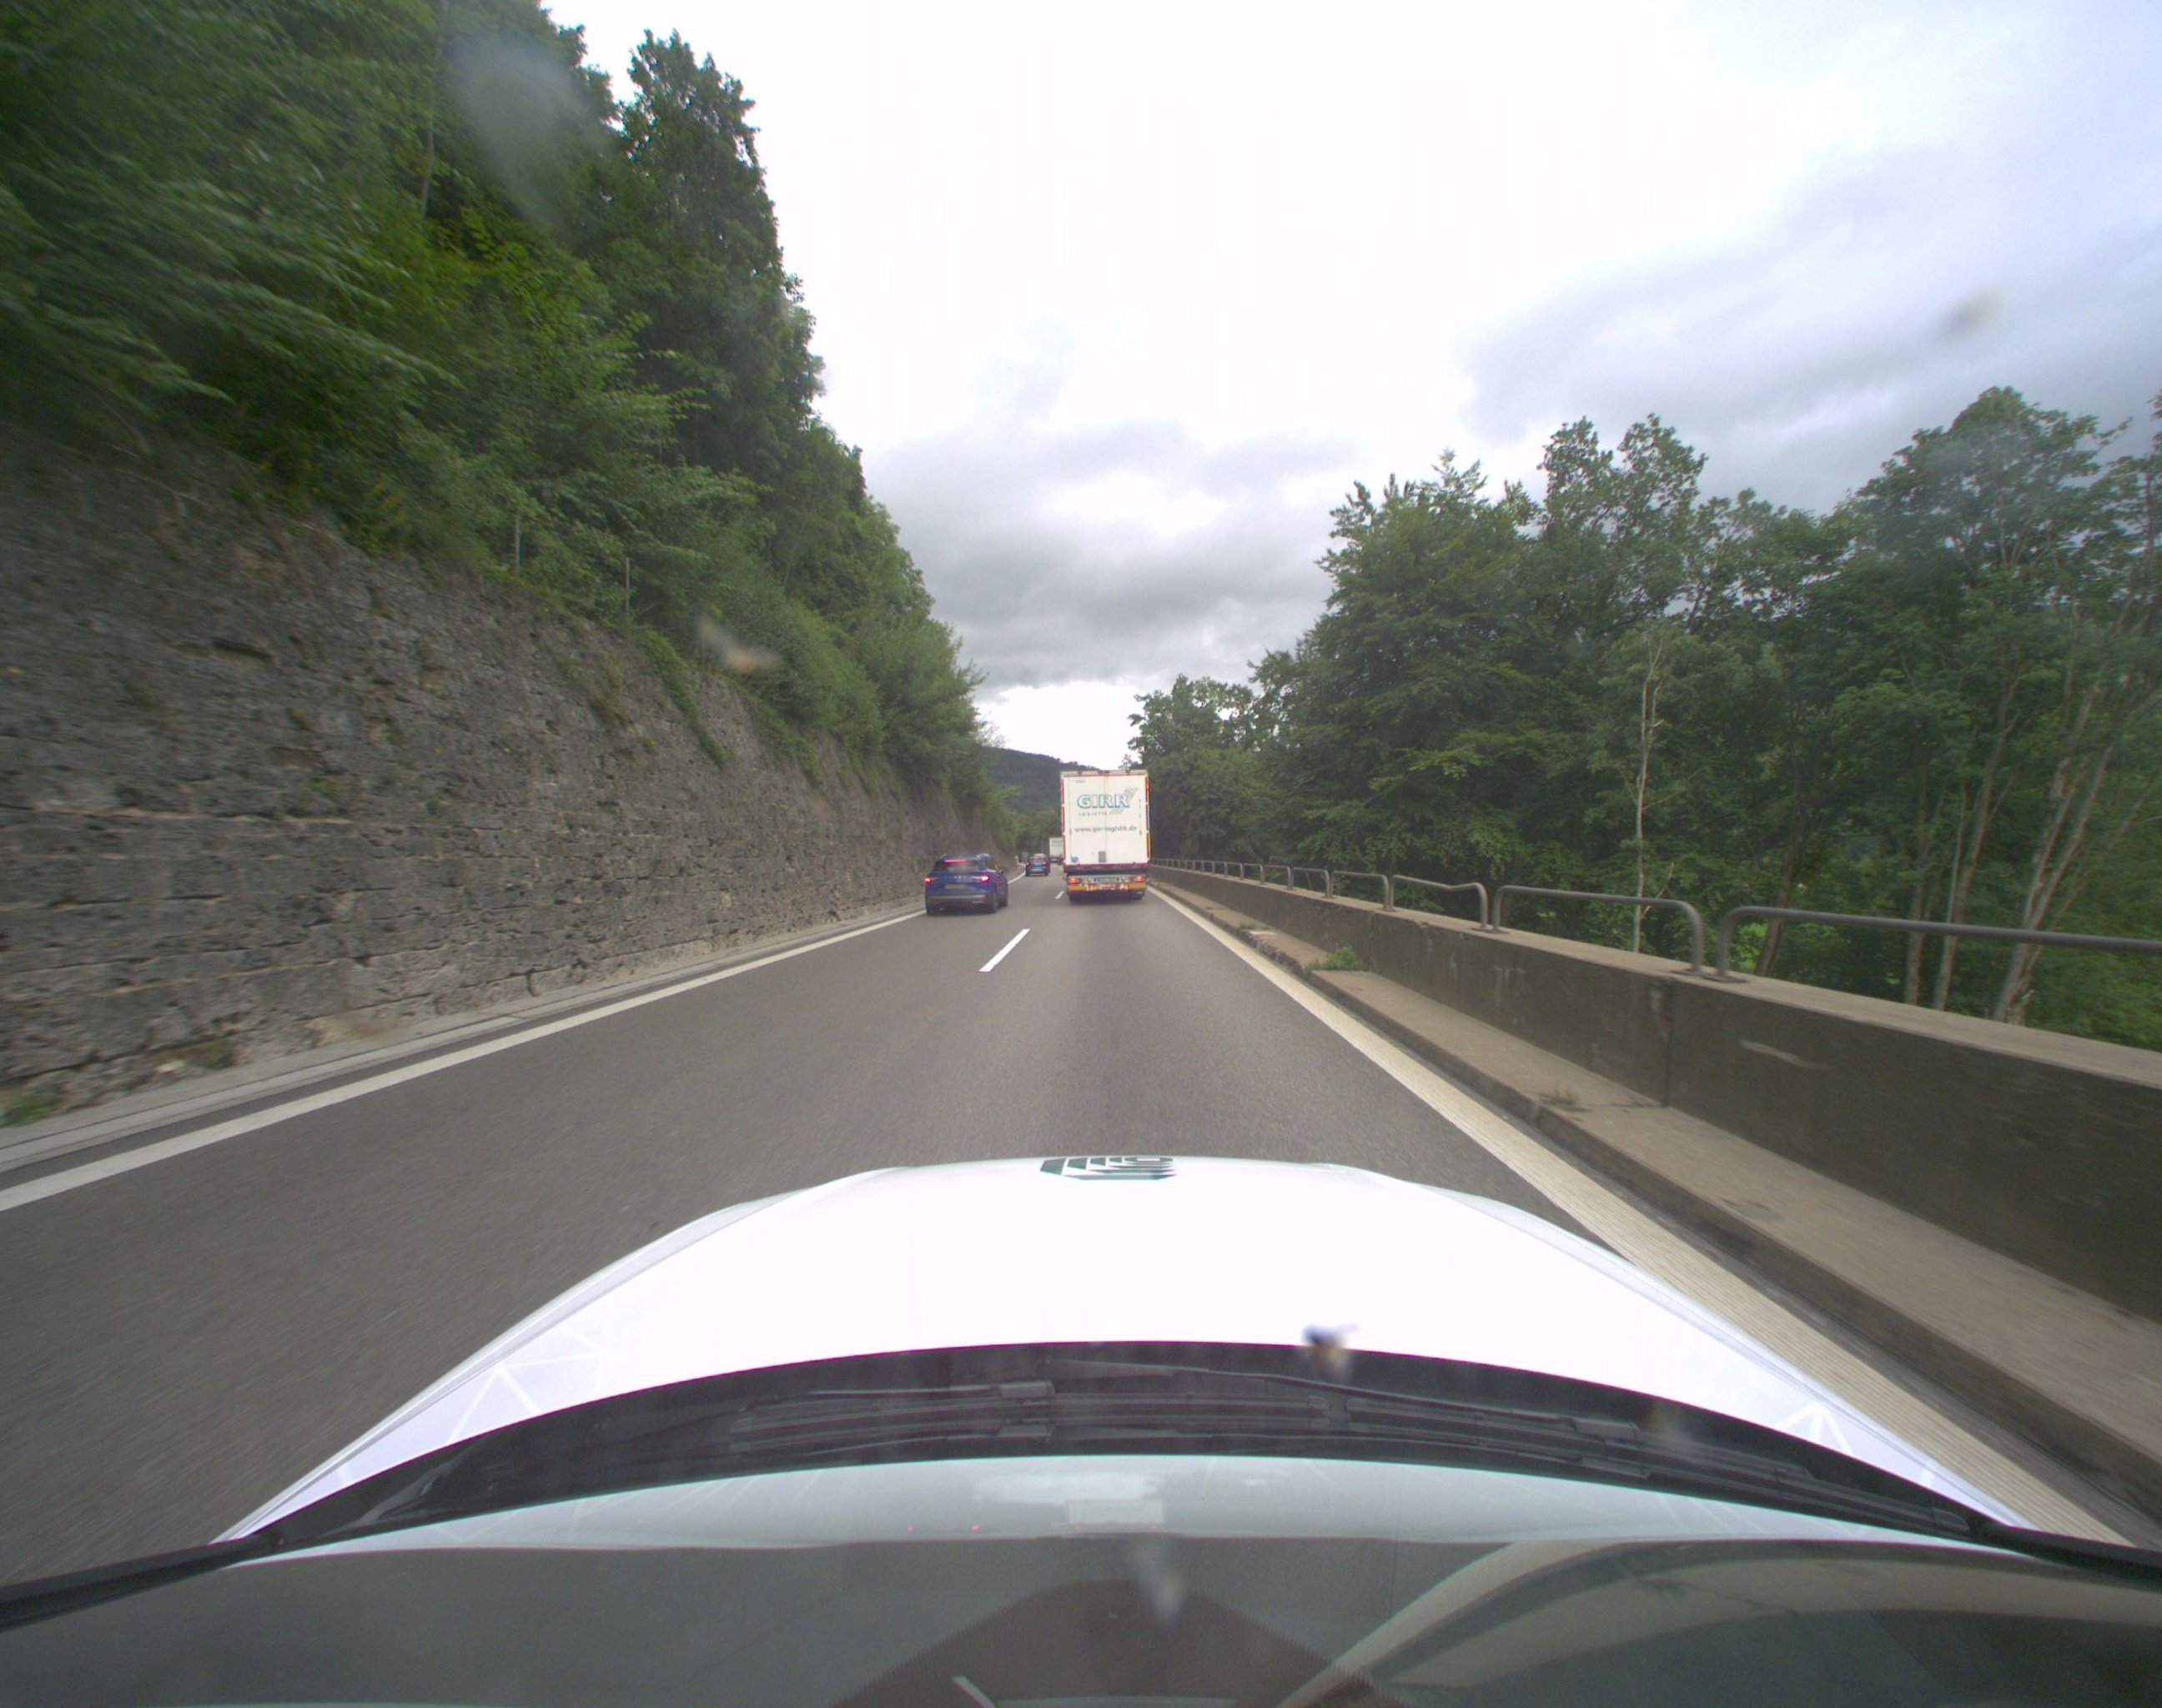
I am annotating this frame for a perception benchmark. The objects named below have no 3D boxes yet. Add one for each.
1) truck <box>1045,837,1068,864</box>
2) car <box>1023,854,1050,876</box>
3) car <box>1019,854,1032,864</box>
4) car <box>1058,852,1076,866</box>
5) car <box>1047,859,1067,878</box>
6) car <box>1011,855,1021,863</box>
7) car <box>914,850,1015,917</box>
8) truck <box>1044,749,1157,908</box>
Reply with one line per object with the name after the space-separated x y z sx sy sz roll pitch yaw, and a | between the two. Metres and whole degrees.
-3.947 -0.539 129.770 2.631 3.857 12.332 -2 0 -6 | truck
-3.351 0.832 61.864 1.989 1.596 4.349 -1 0 -3 | car
-9.321 0.787 135.900 1.895 1.550 4.238 -1 0 -8 | car
-1.870 0.619 107.022 2.056 1.654 3.995 -2 0 -4 | car
-2.113 1.244 71.697 1.741 1.587 3.997 -1 -1 -2 | car
-13.311 1.063 166.614 1.744 1.587 3.989 5 -1 -8 | car
-3.168 0.765 23.196 1.986 1.632 5.009 -2 0 1 | car
0.719 -0.779 31.085 3.073 4.464 15.158 -2 0 1 | truck
